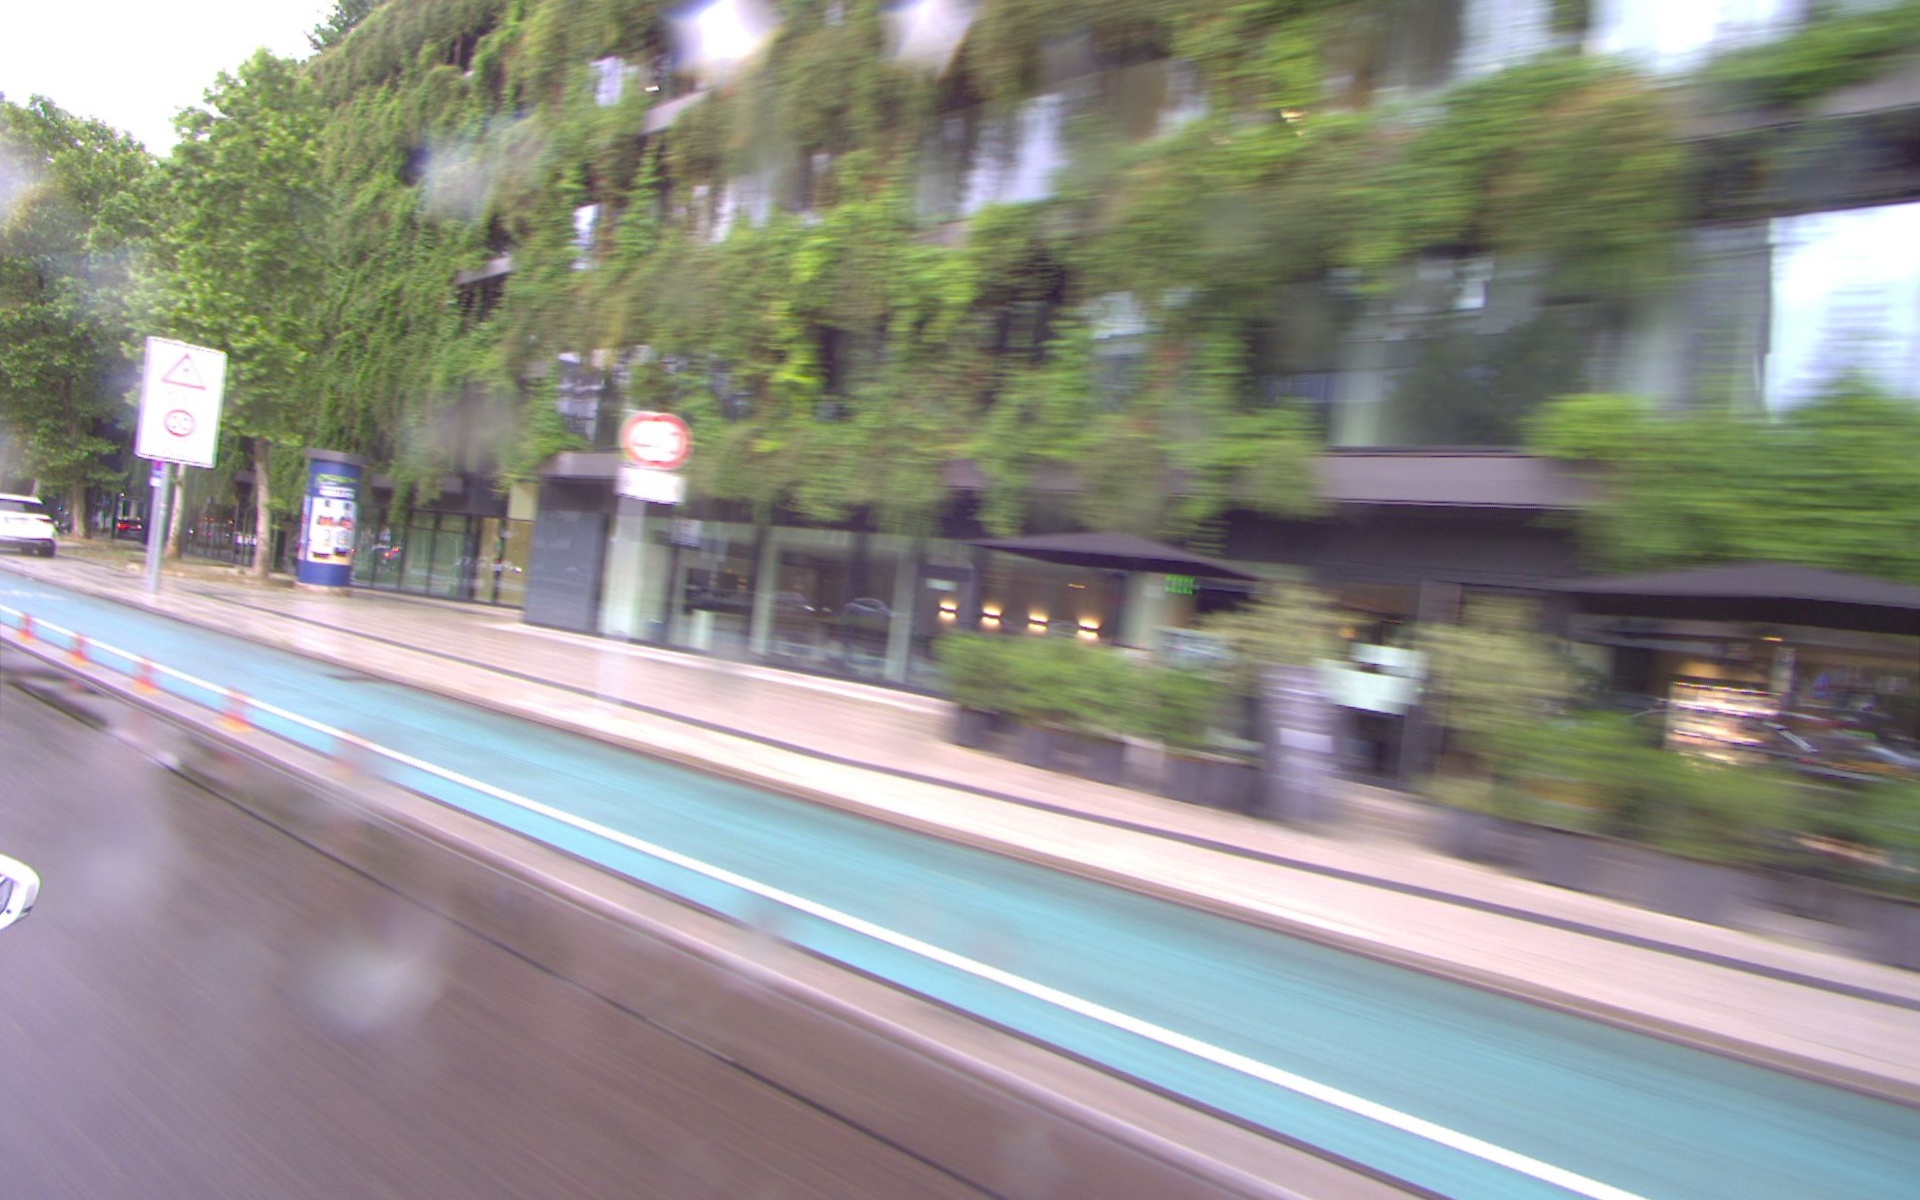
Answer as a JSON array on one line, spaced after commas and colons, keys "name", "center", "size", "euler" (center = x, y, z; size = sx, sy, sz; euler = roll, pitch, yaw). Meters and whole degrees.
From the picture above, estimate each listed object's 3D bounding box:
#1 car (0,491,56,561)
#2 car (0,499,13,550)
[{"name": "car", "center": [-29.284, -2.381, 30.594], "size": [5.020, 1.861, 1.841], "euler": [7, 0, 40]}, {"name": "car", "center": [-34.040, -2.782, 34.201], "size": [4.714, 1.652, 1.844], "euler": [7, -1, 37]}]
